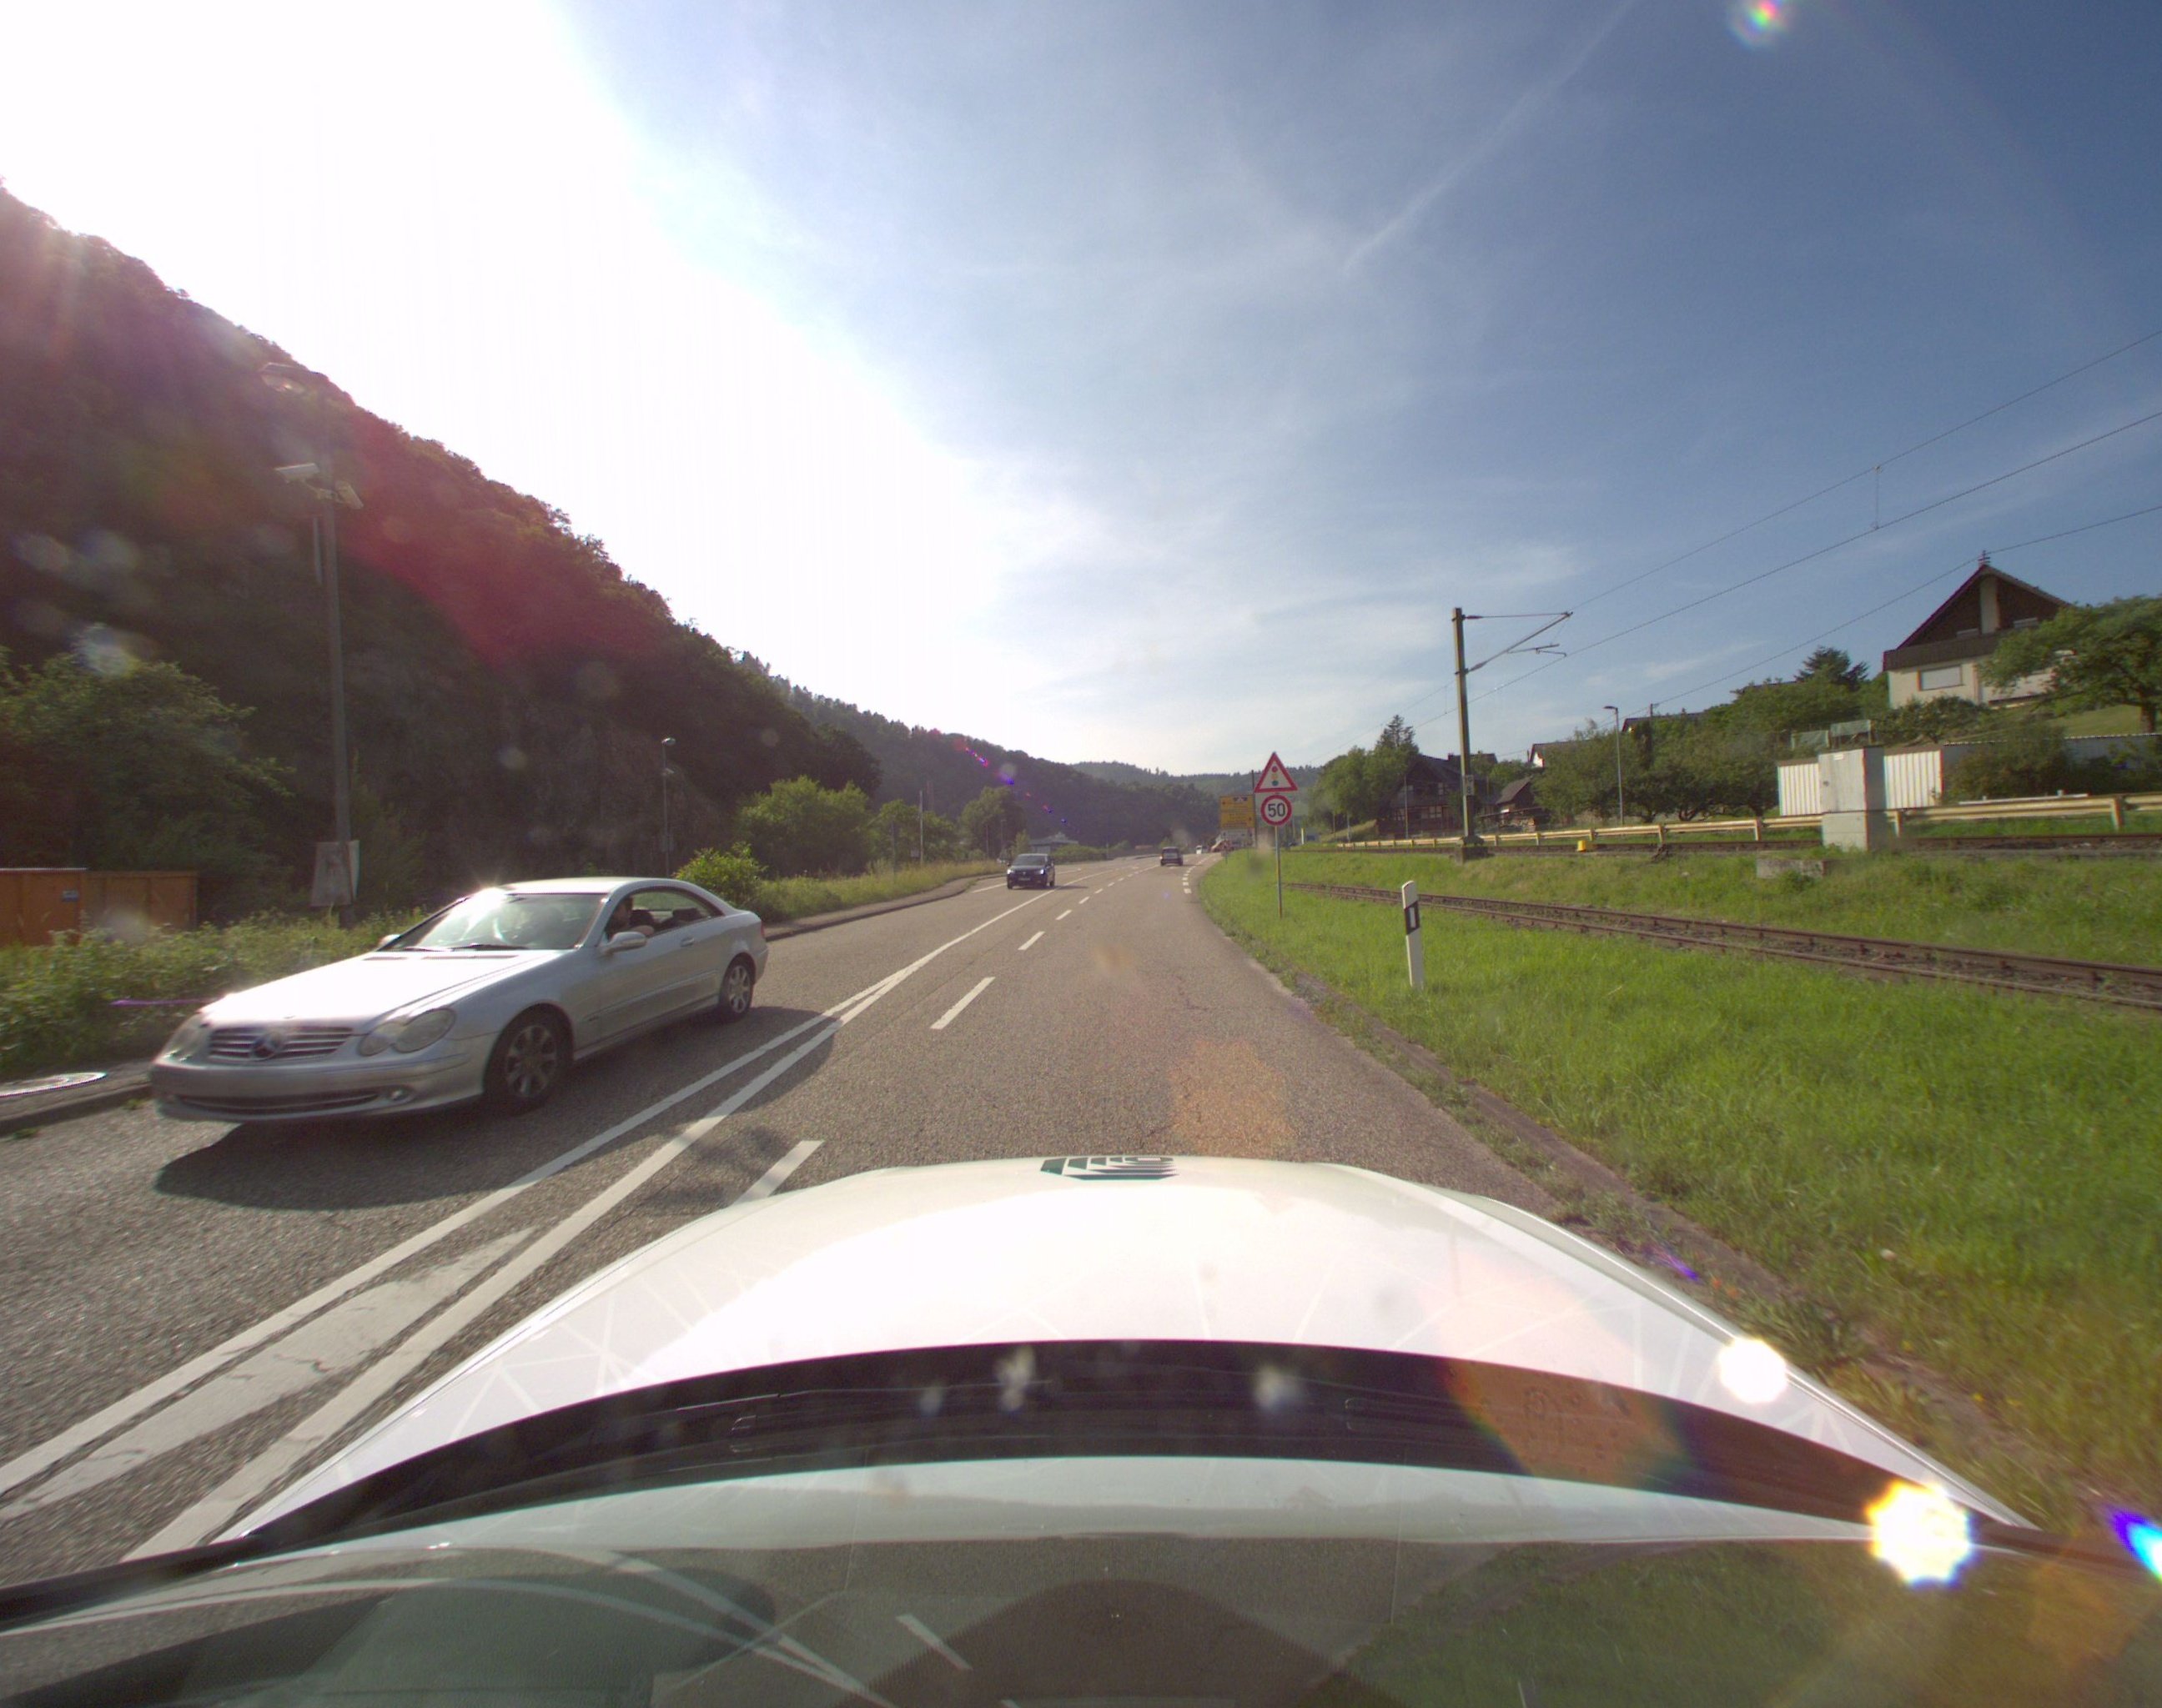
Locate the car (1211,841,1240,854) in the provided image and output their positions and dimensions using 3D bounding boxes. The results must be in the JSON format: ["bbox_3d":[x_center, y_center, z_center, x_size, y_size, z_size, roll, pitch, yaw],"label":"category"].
[{"bbox_3d":[28.701,-1.309,161.996,5.291,2.013,1.989,-5,0,-16],"label":"car"}]

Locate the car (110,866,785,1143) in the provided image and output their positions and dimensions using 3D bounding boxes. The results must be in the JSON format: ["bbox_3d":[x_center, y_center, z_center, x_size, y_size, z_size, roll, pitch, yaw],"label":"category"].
[{"bbox_3d":[-4.088,0.811,6.459,1.772,1.348,4.511,0,0,1],"label":"car"}]

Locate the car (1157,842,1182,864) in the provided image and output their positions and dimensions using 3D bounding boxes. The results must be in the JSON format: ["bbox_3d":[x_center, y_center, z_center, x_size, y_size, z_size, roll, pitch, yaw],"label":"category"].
[{"bbox_3d":[7.804,-0.074,71.502,1.983,1.723,3.997,-5,0,6],"label":"car"}]

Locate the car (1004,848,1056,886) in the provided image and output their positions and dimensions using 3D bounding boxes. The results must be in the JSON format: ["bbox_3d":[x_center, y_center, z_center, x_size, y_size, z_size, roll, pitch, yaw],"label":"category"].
[{"bbox_3d":[-2.214,0.533,36.527,1.839,1.585,4.319,-1,0,3],"label":"car"}]
